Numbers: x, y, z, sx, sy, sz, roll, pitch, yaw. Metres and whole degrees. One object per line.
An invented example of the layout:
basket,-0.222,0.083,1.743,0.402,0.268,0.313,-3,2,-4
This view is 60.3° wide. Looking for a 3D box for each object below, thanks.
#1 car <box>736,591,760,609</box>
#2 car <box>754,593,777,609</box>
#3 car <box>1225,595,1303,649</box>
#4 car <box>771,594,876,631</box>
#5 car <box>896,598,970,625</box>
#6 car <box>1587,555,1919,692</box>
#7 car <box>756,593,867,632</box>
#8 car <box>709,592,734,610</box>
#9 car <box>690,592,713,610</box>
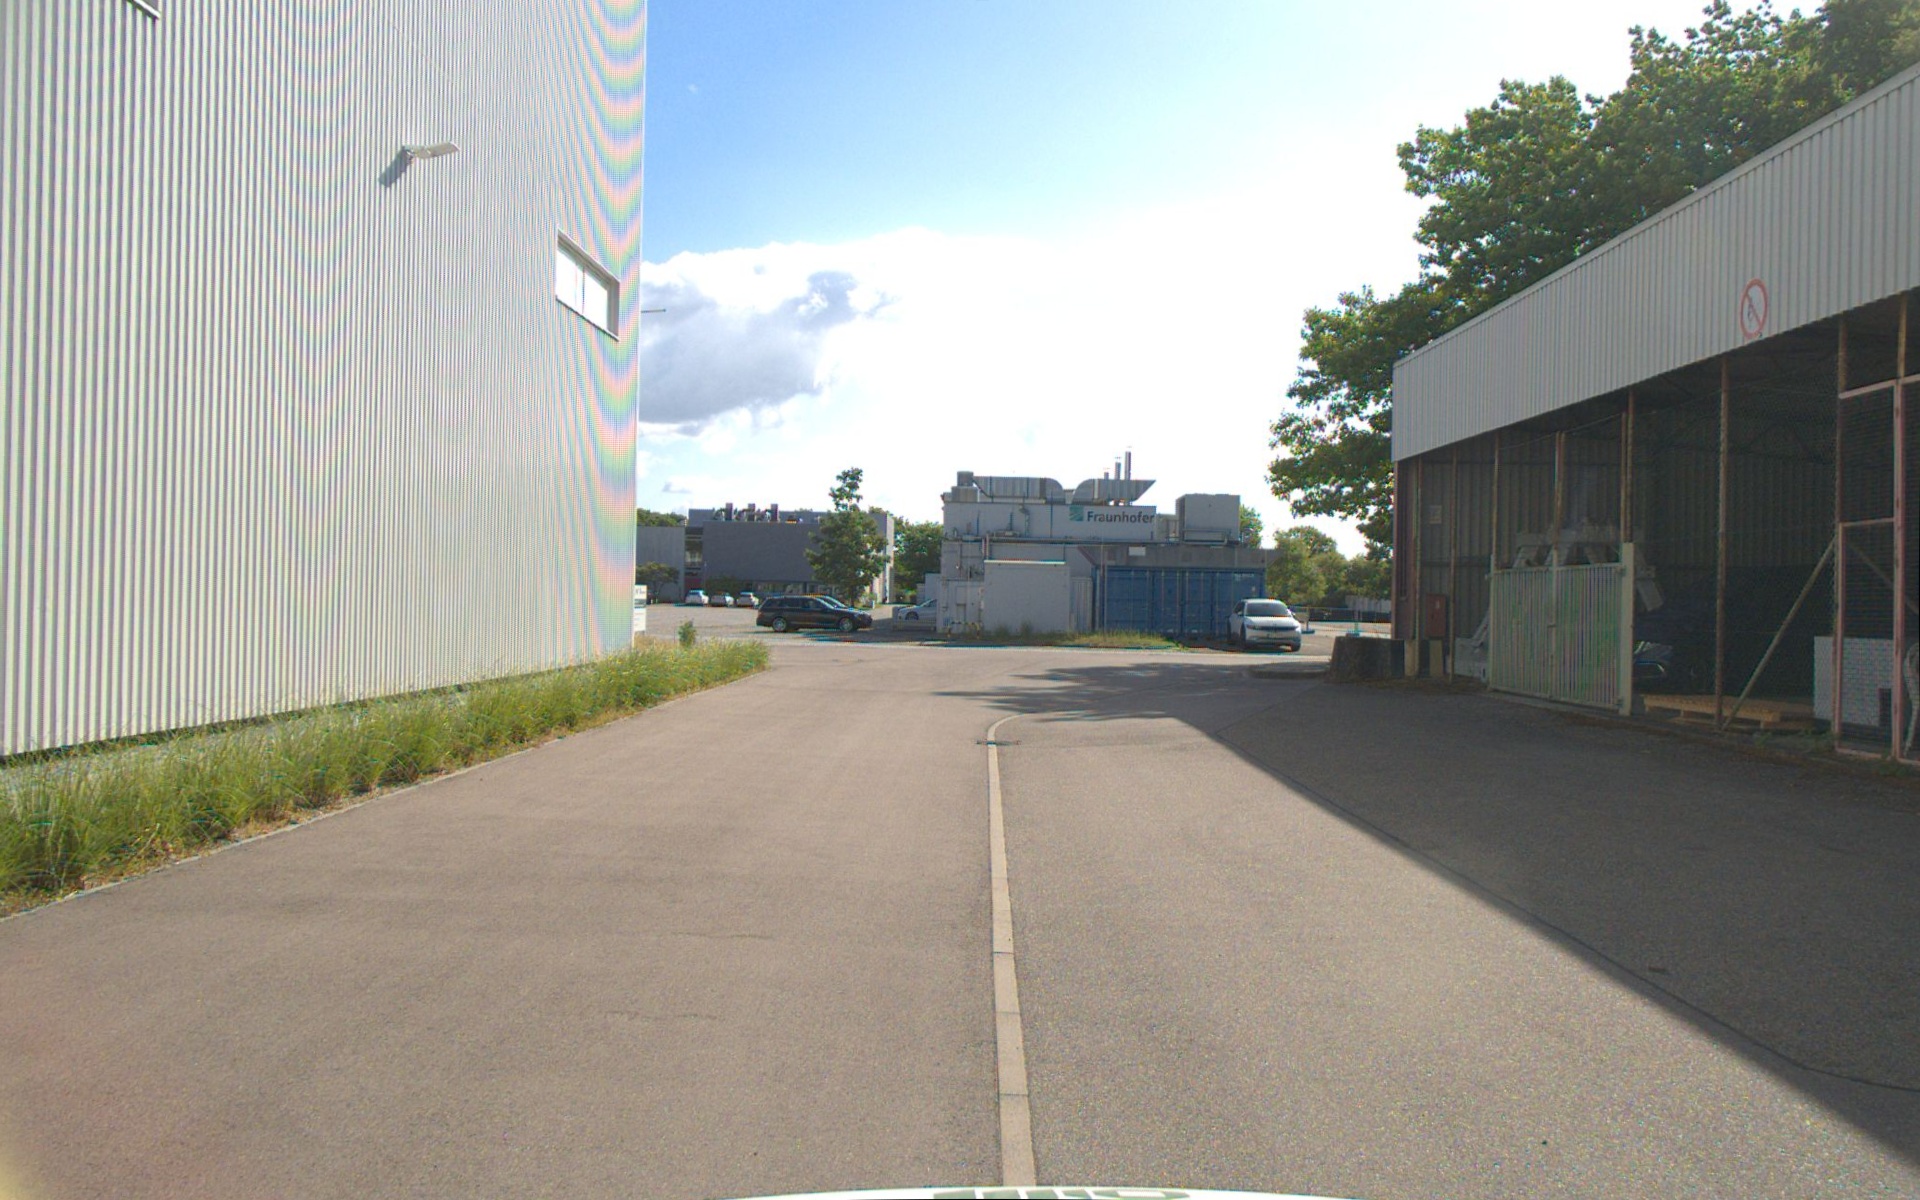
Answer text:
car,-21.198,0.037,165.206,1.926,1.742,4.028,-1,0,-1
car,-19.192,0.107,163.350,1.820,1.521,4.028,-1,0,-1
car,10.099,0.697,55.228,1.938,1.630,4.379,-1,1,2
car,-5.886,0.544,71.502,4.356,1.558,1.824,0,-1,0
car,-1.566,0.675,95.709,4.214,1.483,1.824,0,-1,0
car,12.078,0.359,24.745,4.678,1.950,1.997,0,-1,-8
car,-6.071,0.519,67.858,4.356,1.558,1.824,0,-1,0
car,-23.744,0.084,164.804,1.936,1.707,3.999,-1,0,-1
car,-25.821,0.067,165.213,1.761,1.742,4.047,-1,0,-1
